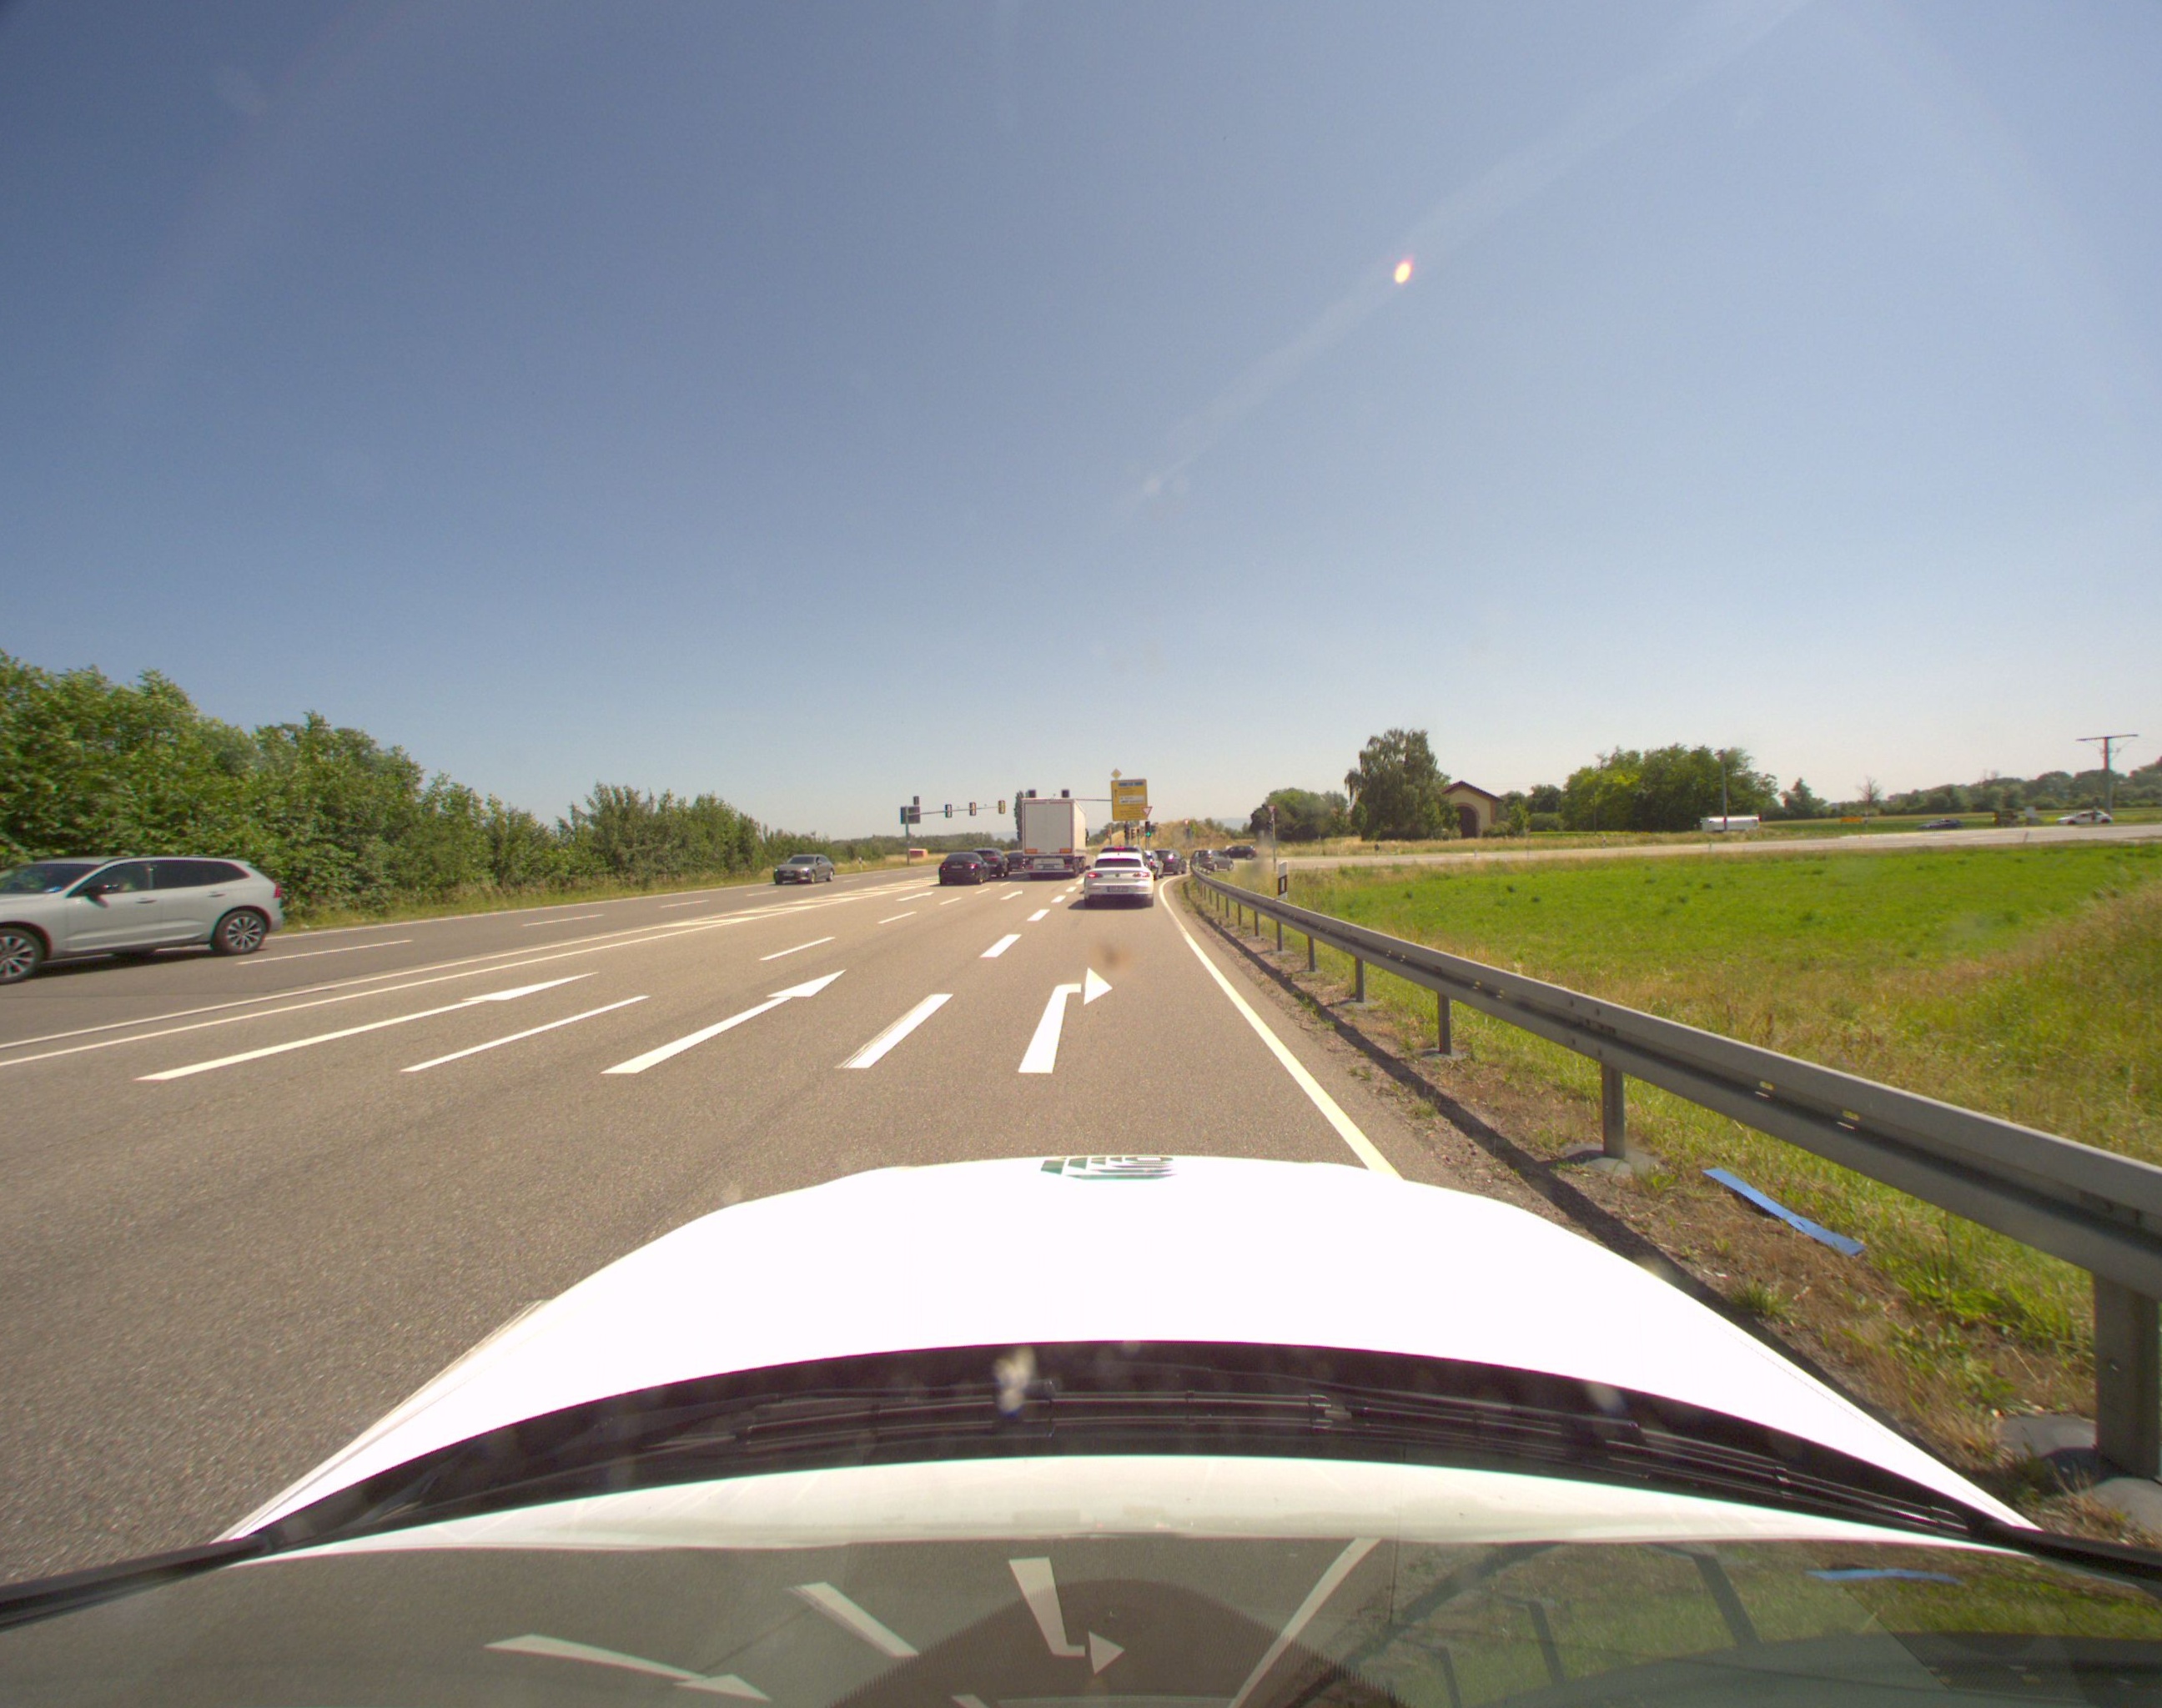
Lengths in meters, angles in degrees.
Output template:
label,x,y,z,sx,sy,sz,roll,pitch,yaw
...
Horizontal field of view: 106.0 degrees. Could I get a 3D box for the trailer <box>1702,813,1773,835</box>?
label,x,y,z,sx,sy,sz,roll,pitch,yaw
trailer,79.966,-3.647,99.258,6.328,2.455,2.692,-2,2,6

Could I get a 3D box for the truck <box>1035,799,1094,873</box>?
label,x,y,z,sx,sy,sz,roll,pitch,yaw
truck,-0.972,-1.113,53.152,3.367,4.542,6.377,-1,0,3

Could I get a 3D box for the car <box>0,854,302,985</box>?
label,x,y,z,sx,sy,sz,roll,pitch,yaw
car,-14.644,0.842,11.937,2.021,1.639,4.568,-1,0,0

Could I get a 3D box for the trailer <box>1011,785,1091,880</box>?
label,x,y,z,sx,sy,sz,roll,pitch,yaw
trailer,-1.355,-1.061,45.652,3.367,4.542,12.881,-1,0,3

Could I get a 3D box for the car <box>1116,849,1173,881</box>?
label,x,y,z,sx,sy,sz,roll,pitch,yaw
car,3.085,0.493,38.973,1.785,1.429,4.112,-1,0,18

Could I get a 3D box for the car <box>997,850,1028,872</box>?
label,x,y,z,sx,sy,sz,roll,pitch,yaw
car,-4.792,0.451,57.436,1.803,1.493,4.021,-1,0,1

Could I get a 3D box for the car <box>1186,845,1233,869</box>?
label,x,y,z,sx,sy,sz,roll,pitch,yaw
car,8.519,0.184,53.691,1.783,1.522,3.906,-1,0,29

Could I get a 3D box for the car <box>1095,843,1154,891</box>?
label,x,y,z,sx,sy,sz,roll,pitch,yaw
car,1.657,0.432,29.895,1.925,1.616,4.385,-1,0,6

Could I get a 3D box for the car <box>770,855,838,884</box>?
label,x,y,z,sx,sy,sz,roll,pitch,yaw
car,-14.071,0.749,41.610,1.872,1.398,4.531,-1,0,0

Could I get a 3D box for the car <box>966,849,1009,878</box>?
label,x,y,z,sx,sy,sz,roll,pitch,yaw
car,-5.111,0.482,44.988,1.803,1.493,4.021,-1,0,1

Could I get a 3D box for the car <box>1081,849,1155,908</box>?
label,x,y,z,sx,sy,sz,roll,pitch,yaw
car,1.027,0.607,22.611,1.840,1.433,4.611,-1,0,3

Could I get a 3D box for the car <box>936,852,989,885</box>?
label,x,y,z,sx,sy,sz,roll,pitch,yaw
car,-5.407,0.634,37.601,1.803,1.398,4.021,-1,0,1

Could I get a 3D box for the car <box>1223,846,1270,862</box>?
label,x,y,z,sx,sy,sz,roll,pitch,yaw
car,16.064,-0.022,79.161,4.239,1.368,1.779,-2,1,5

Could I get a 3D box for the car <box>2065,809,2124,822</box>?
label,x,y,z,sx,sy,sz,roll,pitch,yaw
car,112.464,-4.288,90.463,1.706,1.332,3.988,-4,3,-43

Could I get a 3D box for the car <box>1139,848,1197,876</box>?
label,x,y,z,sx,sy,sz,roll,pitch,yaw
car,4.924,0.402,45.481,1.783,1.476,4.441,-1,0,27
